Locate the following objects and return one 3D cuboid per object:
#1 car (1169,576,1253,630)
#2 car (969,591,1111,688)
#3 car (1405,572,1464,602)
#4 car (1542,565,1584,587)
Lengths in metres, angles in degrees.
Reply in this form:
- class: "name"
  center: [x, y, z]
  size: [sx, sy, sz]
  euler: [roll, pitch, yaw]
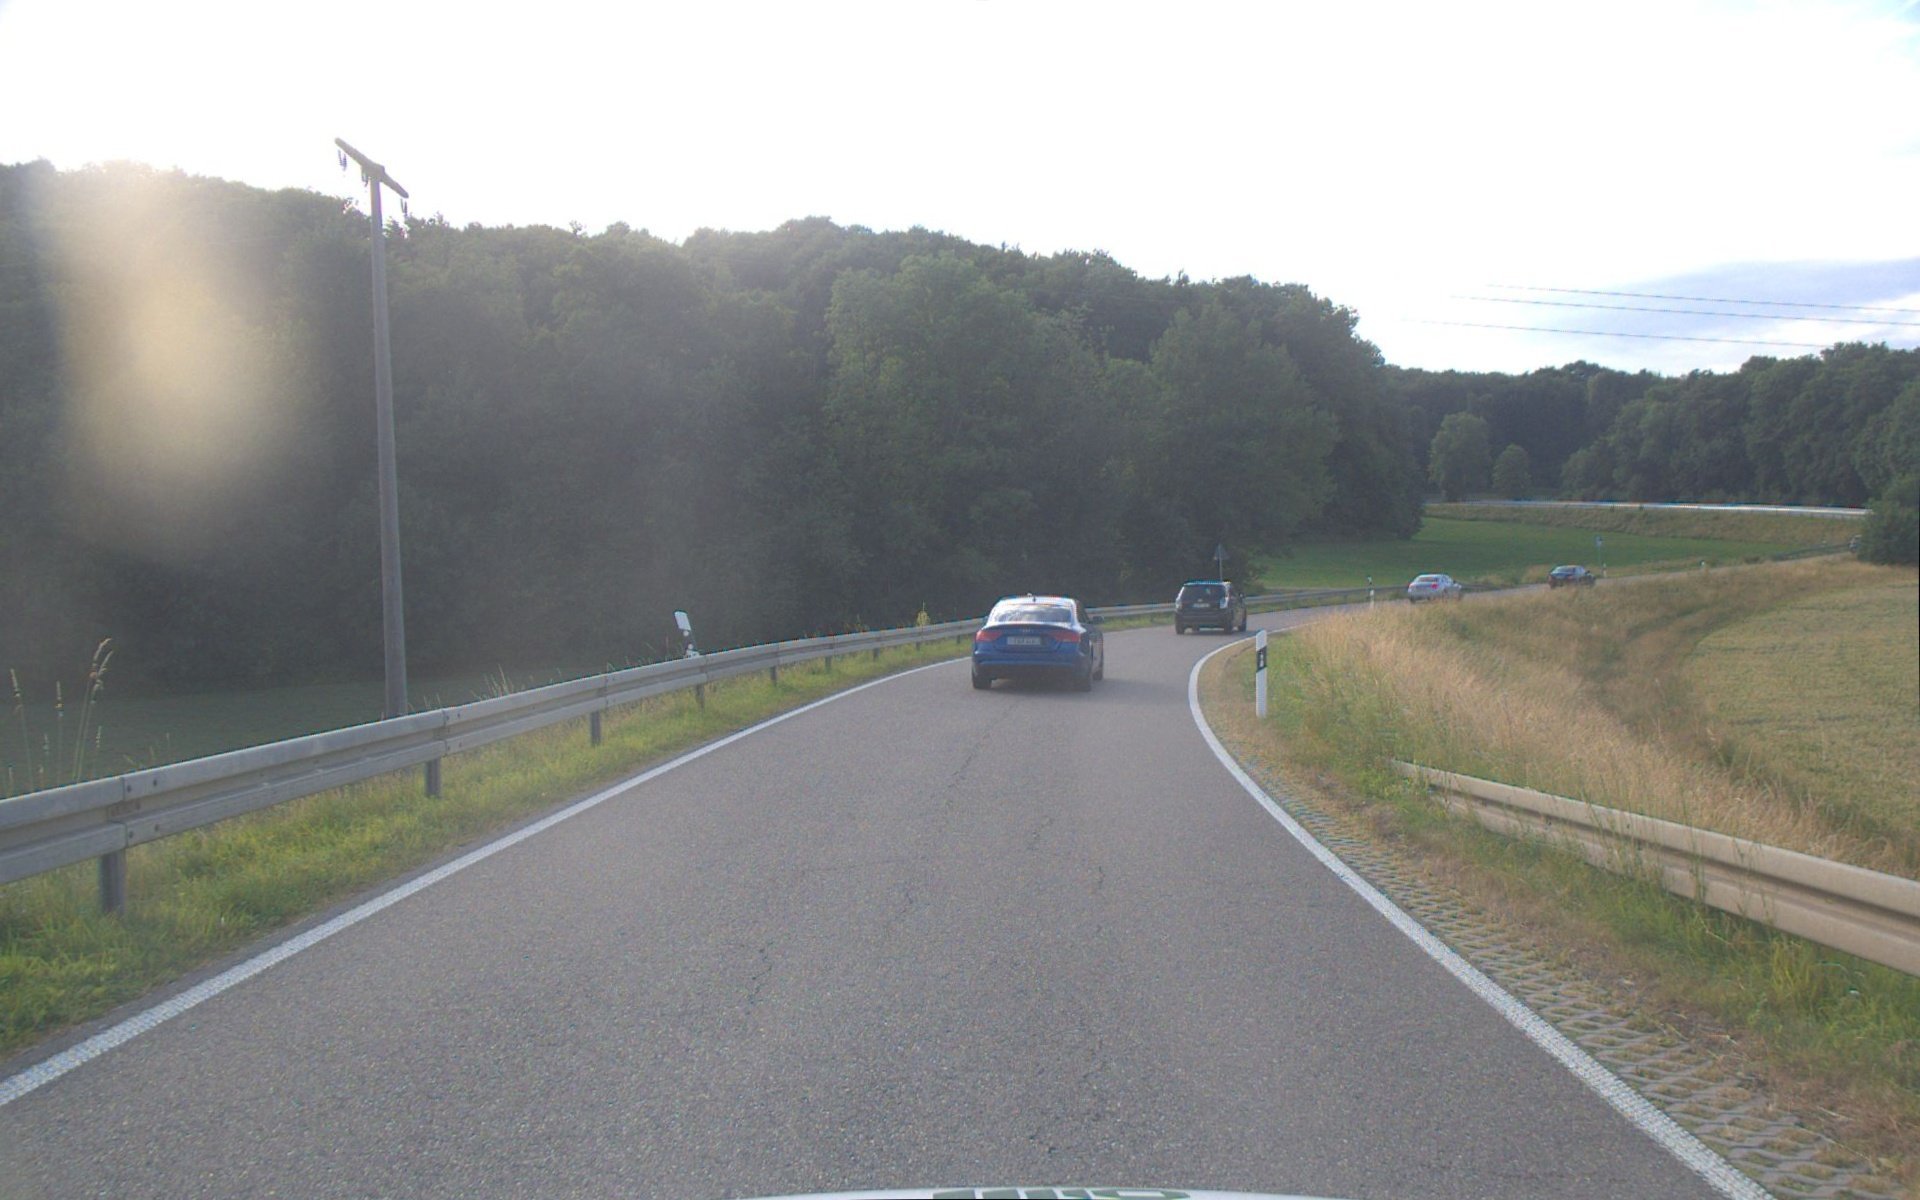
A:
- class: "car"
  center: [7.942, 0.068, 52.054]
  size: [1.823, 1.596, 4.001]
  euler: [-1, 1, 20]
- class: "car"
  center: [1.340, 0.566, 25.884]
  size: [1.779, 1.362, 4.353]
  euler: [0, 0, 9]
- class: "car"
  center: [24.495, -0.687, 85.272]
  size: [1.653, 1.400, 3.986]
  euler: [-3, 0, 35]
- class: "car"
  center: [37.917, -1.510, 104.029]
  size: [1.448, 1.248, 3.283]
  euler: [-3, -1, 40]
